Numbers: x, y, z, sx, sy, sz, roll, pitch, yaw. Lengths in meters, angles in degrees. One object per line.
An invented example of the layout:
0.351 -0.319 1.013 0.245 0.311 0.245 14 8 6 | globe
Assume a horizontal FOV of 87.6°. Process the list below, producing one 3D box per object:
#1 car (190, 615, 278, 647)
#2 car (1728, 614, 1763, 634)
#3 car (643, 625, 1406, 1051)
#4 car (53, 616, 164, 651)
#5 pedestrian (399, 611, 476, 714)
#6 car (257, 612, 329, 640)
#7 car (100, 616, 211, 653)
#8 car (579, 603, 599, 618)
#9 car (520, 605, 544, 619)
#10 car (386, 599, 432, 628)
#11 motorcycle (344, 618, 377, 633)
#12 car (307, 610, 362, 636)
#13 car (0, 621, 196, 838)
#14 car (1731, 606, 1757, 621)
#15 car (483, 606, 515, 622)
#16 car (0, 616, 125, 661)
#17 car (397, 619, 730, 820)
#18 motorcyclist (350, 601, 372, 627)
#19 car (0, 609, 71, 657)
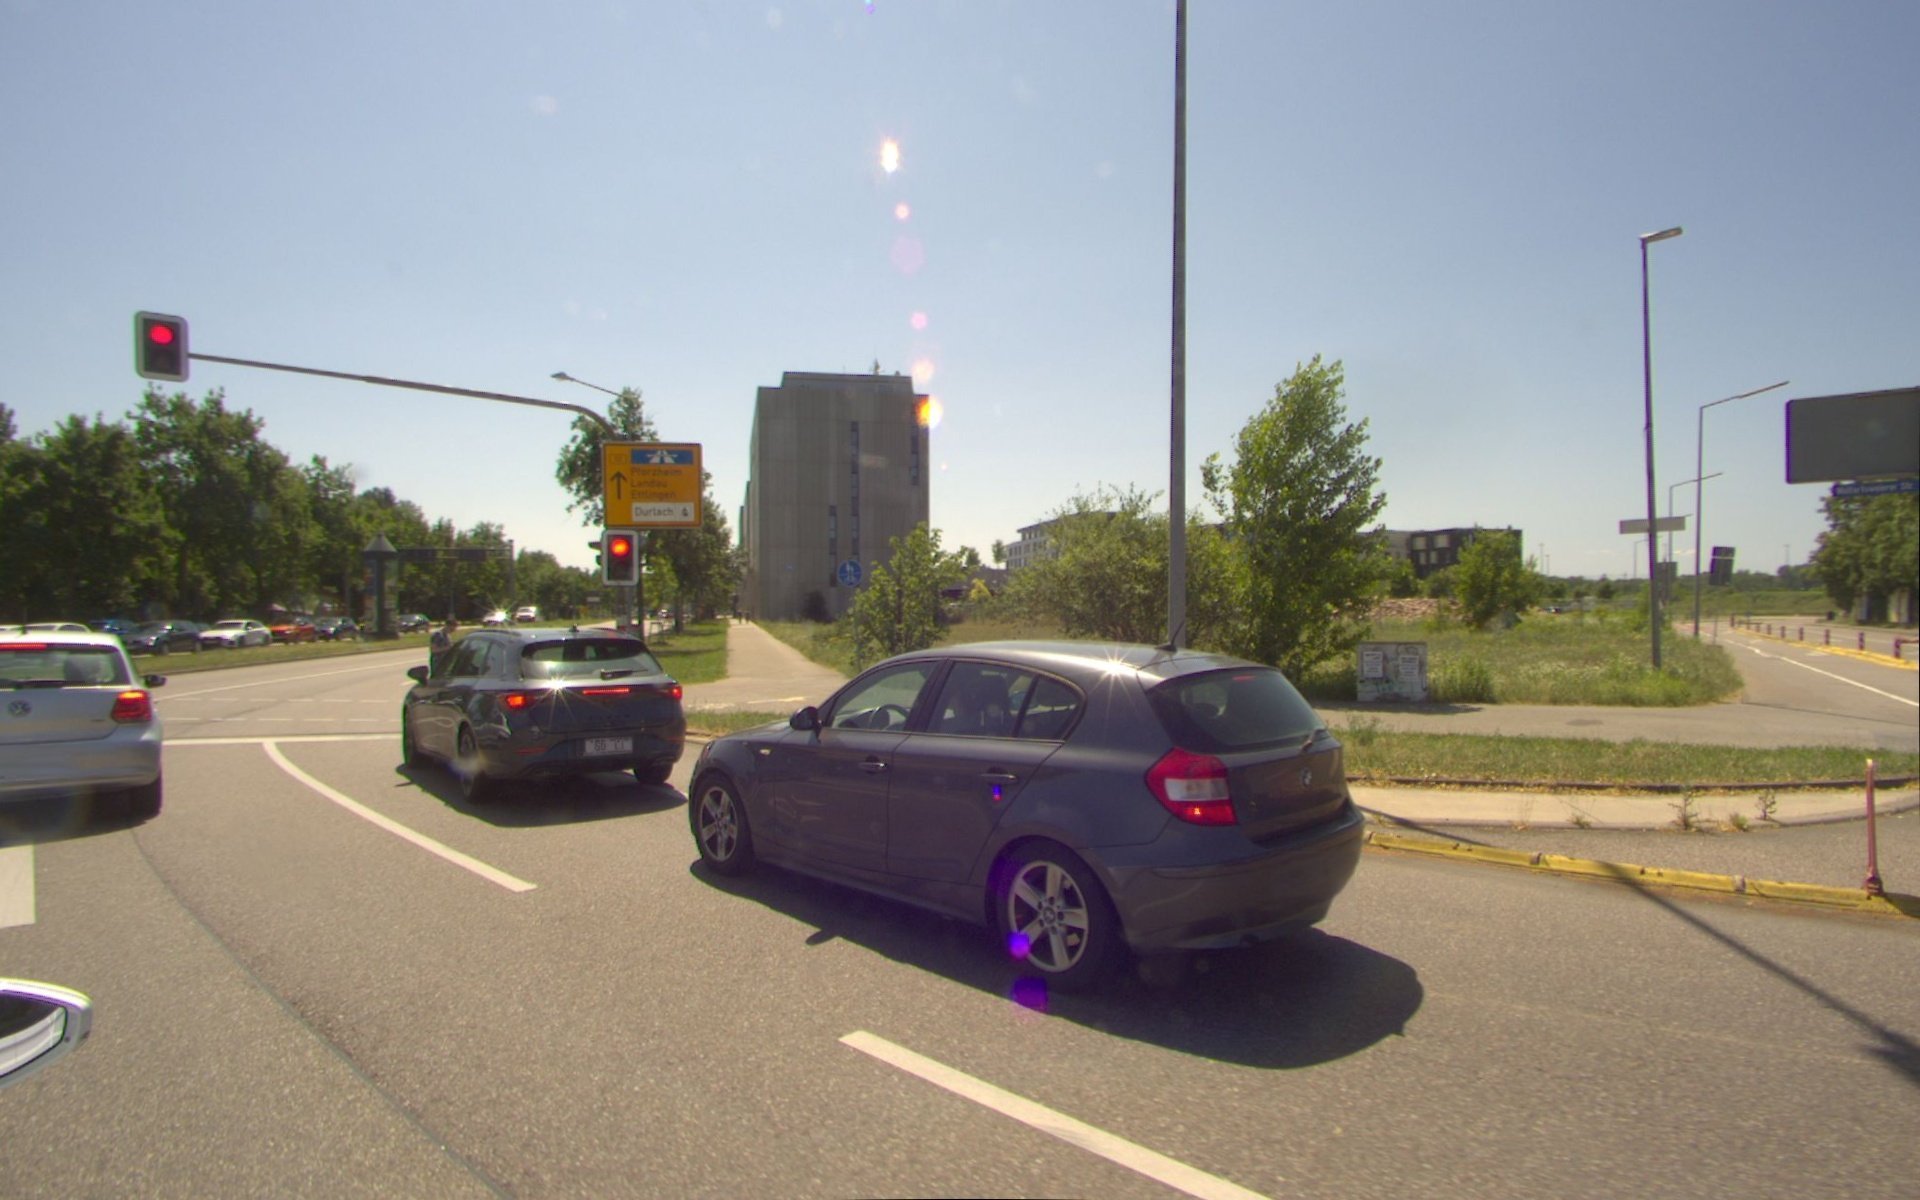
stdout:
-34.854 1.468 48.207 1.830 1.441 4.403 0 0 -13 | car
61.753 1.864 78.800 1.734 1.565 3.675 0 0 32 | car
0.063 0.876 5.511 4.037 1.421 1.738 0 -1 44 | car
-37.068 1.422 43.739 1.830 1.441 4.403 0 0 -13 | car
-8.803 1.030 16.903 0.939 1.659 0.756 -2 0 -13 | pedestrian
-36.591 1.398 55.084 1.830 1.441 4.403 0 0 -13 | car
-33.265 1.379 41.555 1.830 1.441 4.403 0 0 -13 | car
-45.875 1.289 123.933 1.773 1.714 4.138 -2 -1 -13 | car
-47.910 1.320 112.224 1.835 1.575 3.995 0 0 -14 | car
-40.716 0.983 74.041 1.963 2.040 3.995 -2 -1 -14 | car
-39.000 1.635 65.171 0.881 0.964 2.814 -2 -1 -10 | motorcycle
-37.361 1.363 59.907 1.689 1.494 3.792 -2 -1 -14 | car
-7.930 0.924 8.350 3.954 1.441 1.767 0 0 42 | car
83.256 1.445 106.406 1.734 1.565 3.675 0 0 32 | car
-42.753 1.302 92.854 1.940 1.507 3.995 0 0 -13 | car
-31.726 1.297 35.174 1.830 1.441 4.403 0 0 -13 | car
-4.084 0.929 9.817 1.976 1.437 4.422 0 0 -37 | car
-39.050 0.918 65.310 0.891 1.607 1.009 -2 0 -11 | motorcyclist
-35.468 1.199 37.129 1.830 1.705 4.403 0 0 -13 | car
